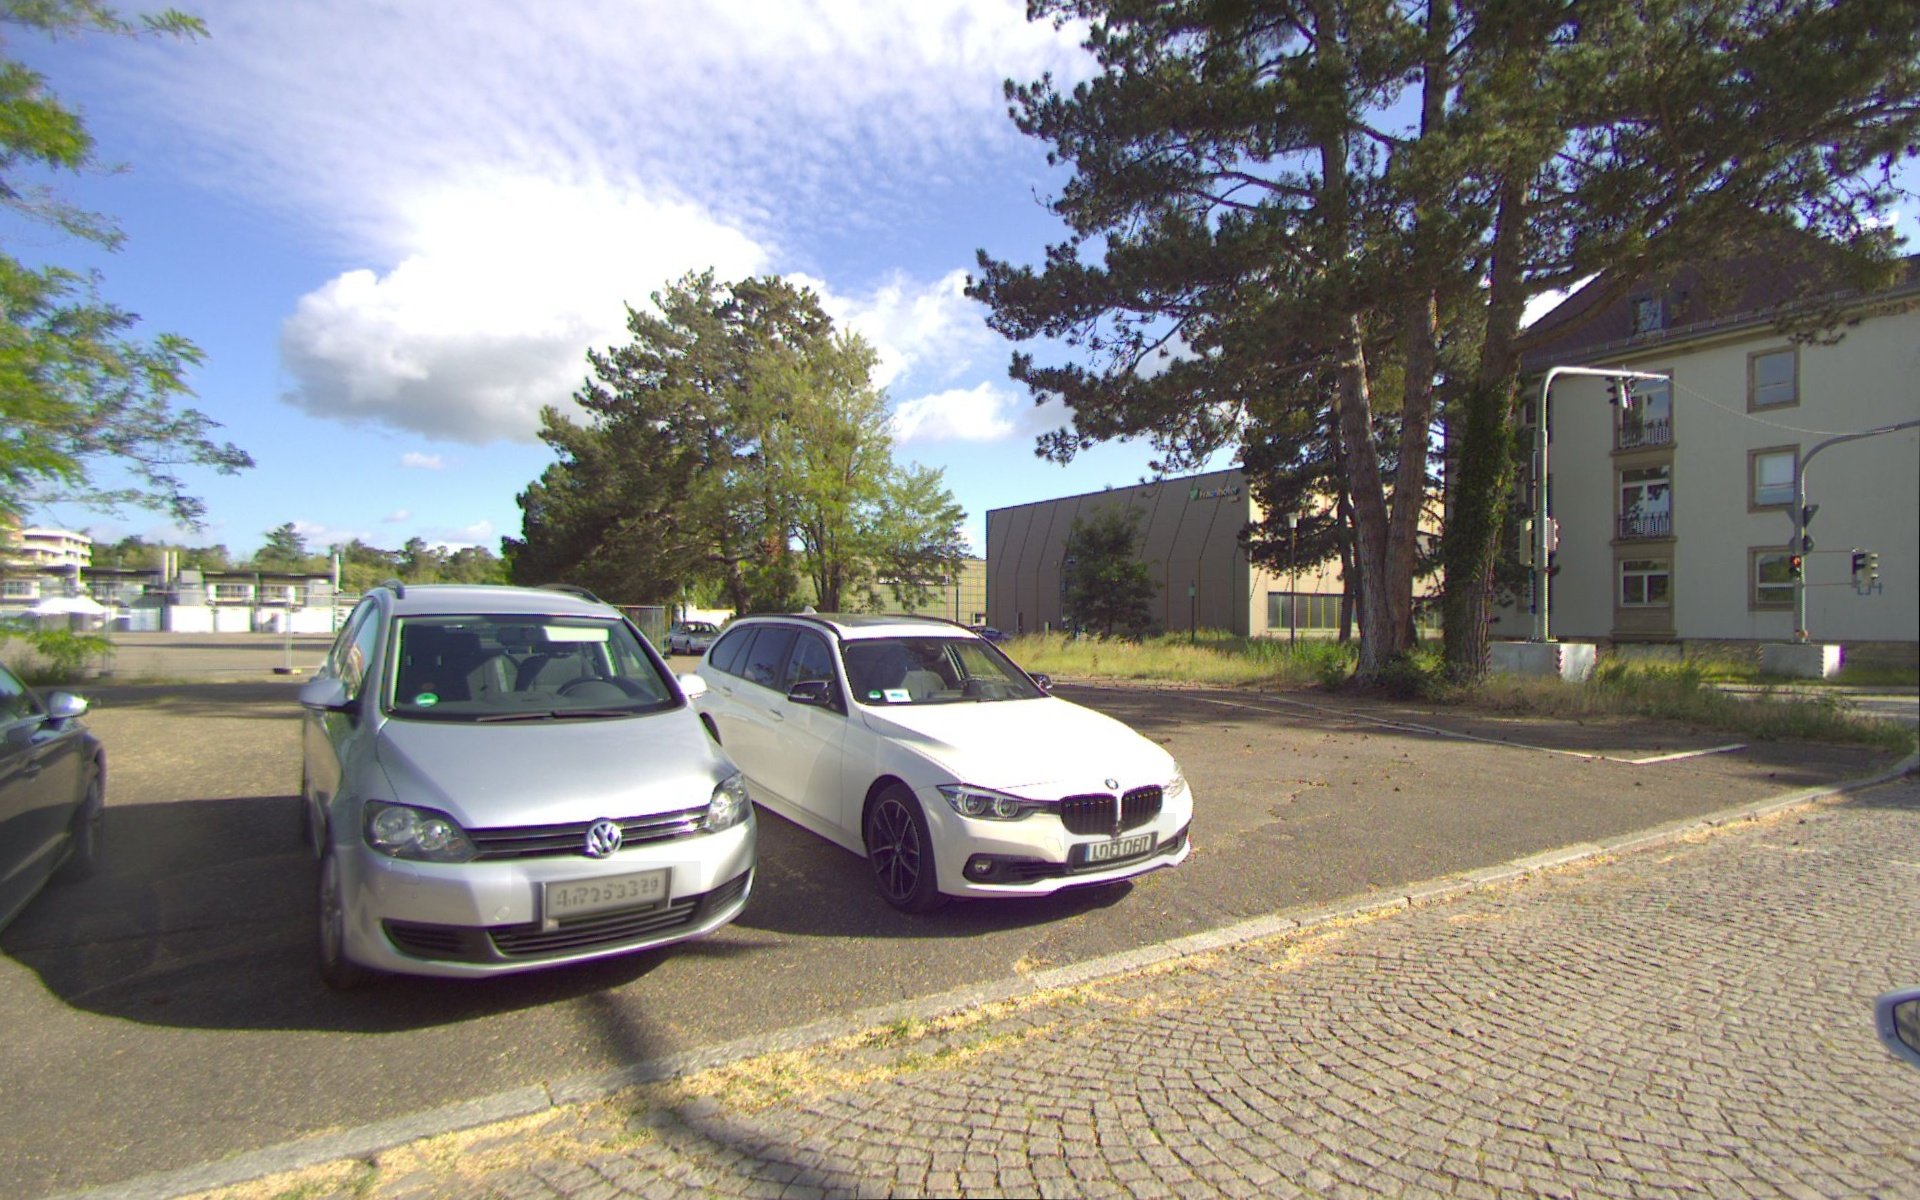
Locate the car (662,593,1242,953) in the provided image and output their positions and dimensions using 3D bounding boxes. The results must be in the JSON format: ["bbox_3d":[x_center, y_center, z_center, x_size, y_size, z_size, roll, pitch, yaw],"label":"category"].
[{"bbox_3d":[-0.457,0.767,6.821,1.734,1.487,4.512,1,1,-34],"label":"car"}]

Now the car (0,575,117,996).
[{"bbox_3d":[-4.421,0.675,3.570,1.669,1.490,3.775,1,1,-33],"label":"car"}]

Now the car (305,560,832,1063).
[{"bbox_3d":[-2.394,0.652,5.398,1.705,1.648,3.916,1,1,-36],"label":"car"}]

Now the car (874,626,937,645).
[{"bbox_3d":[-3.562,2.342,65.809,3.951,1.221,1.481,1,-1,-29],"label":"car"}]

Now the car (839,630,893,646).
[{"bbox_3d":[-6.742,2.712,72.327,3.634,1.090,1.399,1,-1,-29],"label":"car"}]

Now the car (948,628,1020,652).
[{"bbox_3d":[1.395,2.295,57.932,4.002,1.311,1.480,1,-1,-30],"label":"car"}]

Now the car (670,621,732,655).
[{"bbox_3d":[-11.291,1.611,43.645,1.726,1.388,3.594,1,-1,-29],"label":"car"}]
